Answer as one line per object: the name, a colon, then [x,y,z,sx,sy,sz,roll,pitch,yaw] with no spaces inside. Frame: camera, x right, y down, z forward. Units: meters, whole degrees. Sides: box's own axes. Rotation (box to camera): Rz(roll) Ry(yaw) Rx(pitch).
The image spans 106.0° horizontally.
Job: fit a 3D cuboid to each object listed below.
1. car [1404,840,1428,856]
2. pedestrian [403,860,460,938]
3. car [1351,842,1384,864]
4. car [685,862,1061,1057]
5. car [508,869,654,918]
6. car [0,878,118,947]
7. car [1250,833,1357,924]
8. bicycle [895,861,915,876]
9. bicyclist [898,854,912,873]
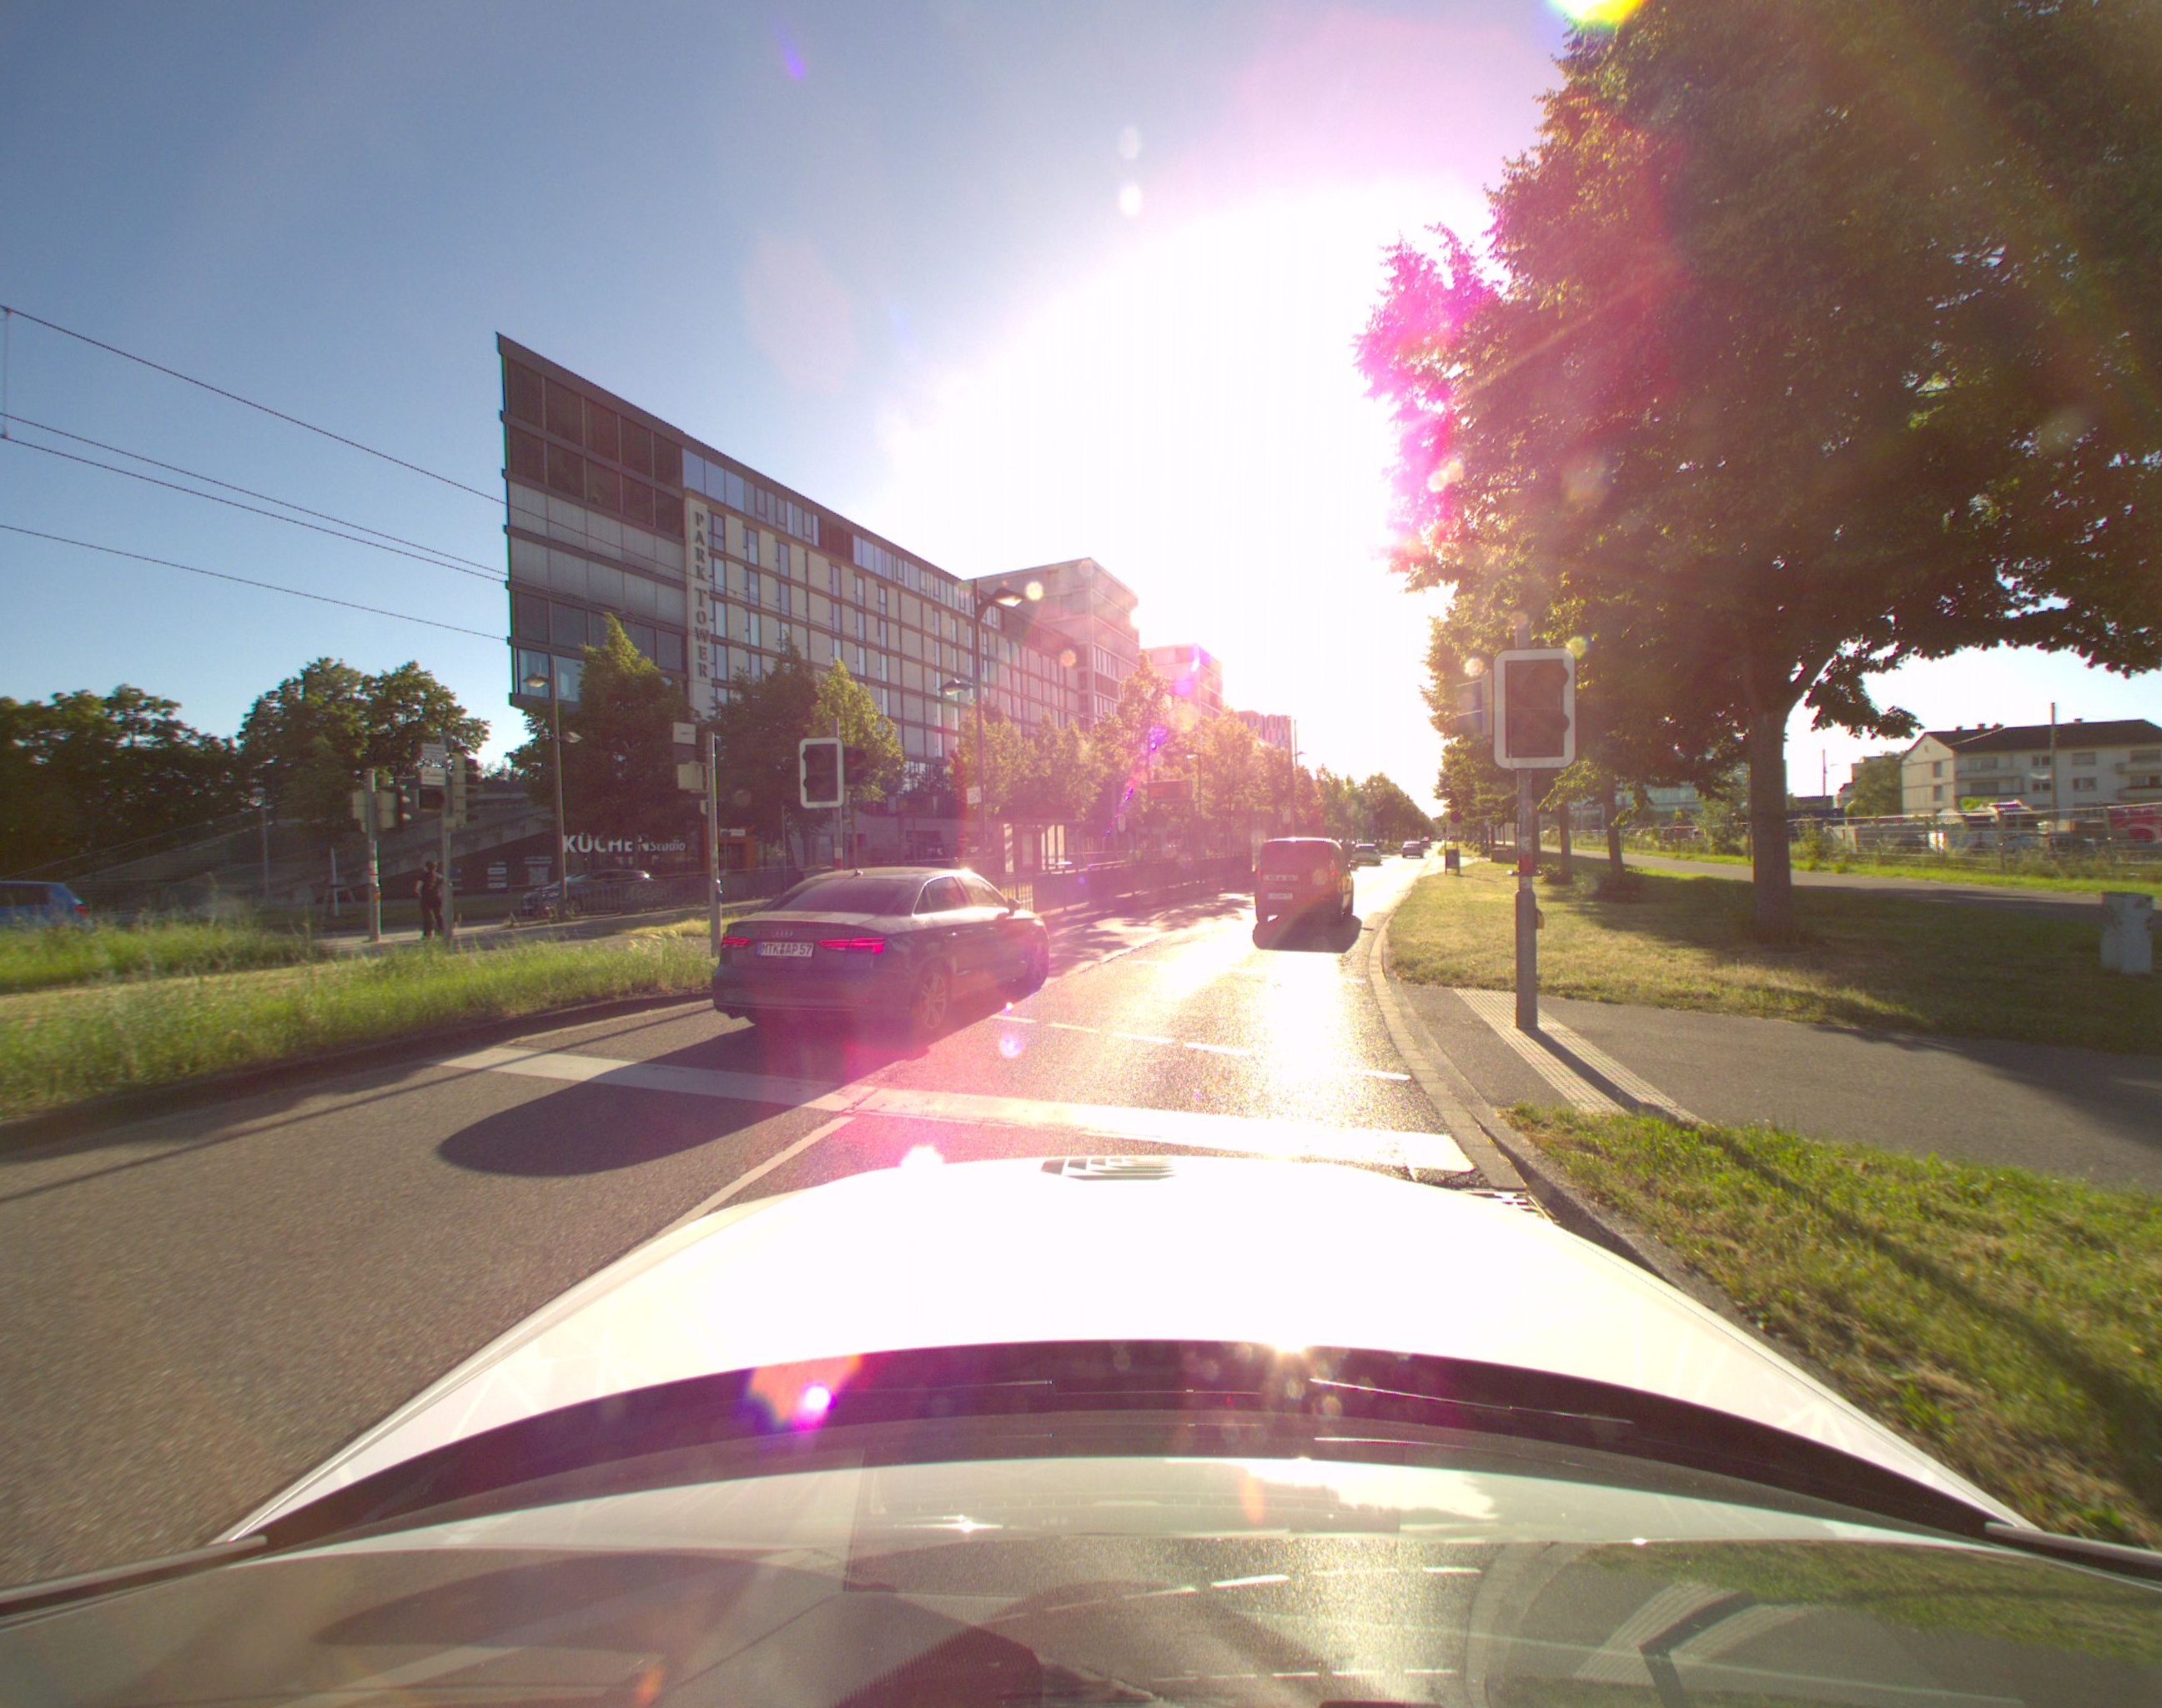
car: [30.248,-0.536,73.542,1.925,1.347,4.021,-1,-1,22]
pedestrian: [-13.571,0.924,17.029,0.413,1.578,0.816,-1,-1,22]
car: [20.221,-0.077,57.332,1.925,1.441,4.022,-1,0,22]
car: [-1.669,0.787,8.123,1.708,1.366,4.164,1,0,17]
car: [-15.766,1.186,25.870,1.644,1.395,3.632,-1,-1,24]
car: [-21.203,1.129,15.374,1.643,1.264,3.644,-1,-1,30]
car: [5.046,0.497,18.073,1.782,1.777,4.021,-1,-1,22]
bicycle: [-14.094,1.156,65.143,0.725,1.120,1.580,-1,1,26]
bicyclist: [-14.076,0.740,65.165,0.714,1.463,0.837,-1,1,25]
